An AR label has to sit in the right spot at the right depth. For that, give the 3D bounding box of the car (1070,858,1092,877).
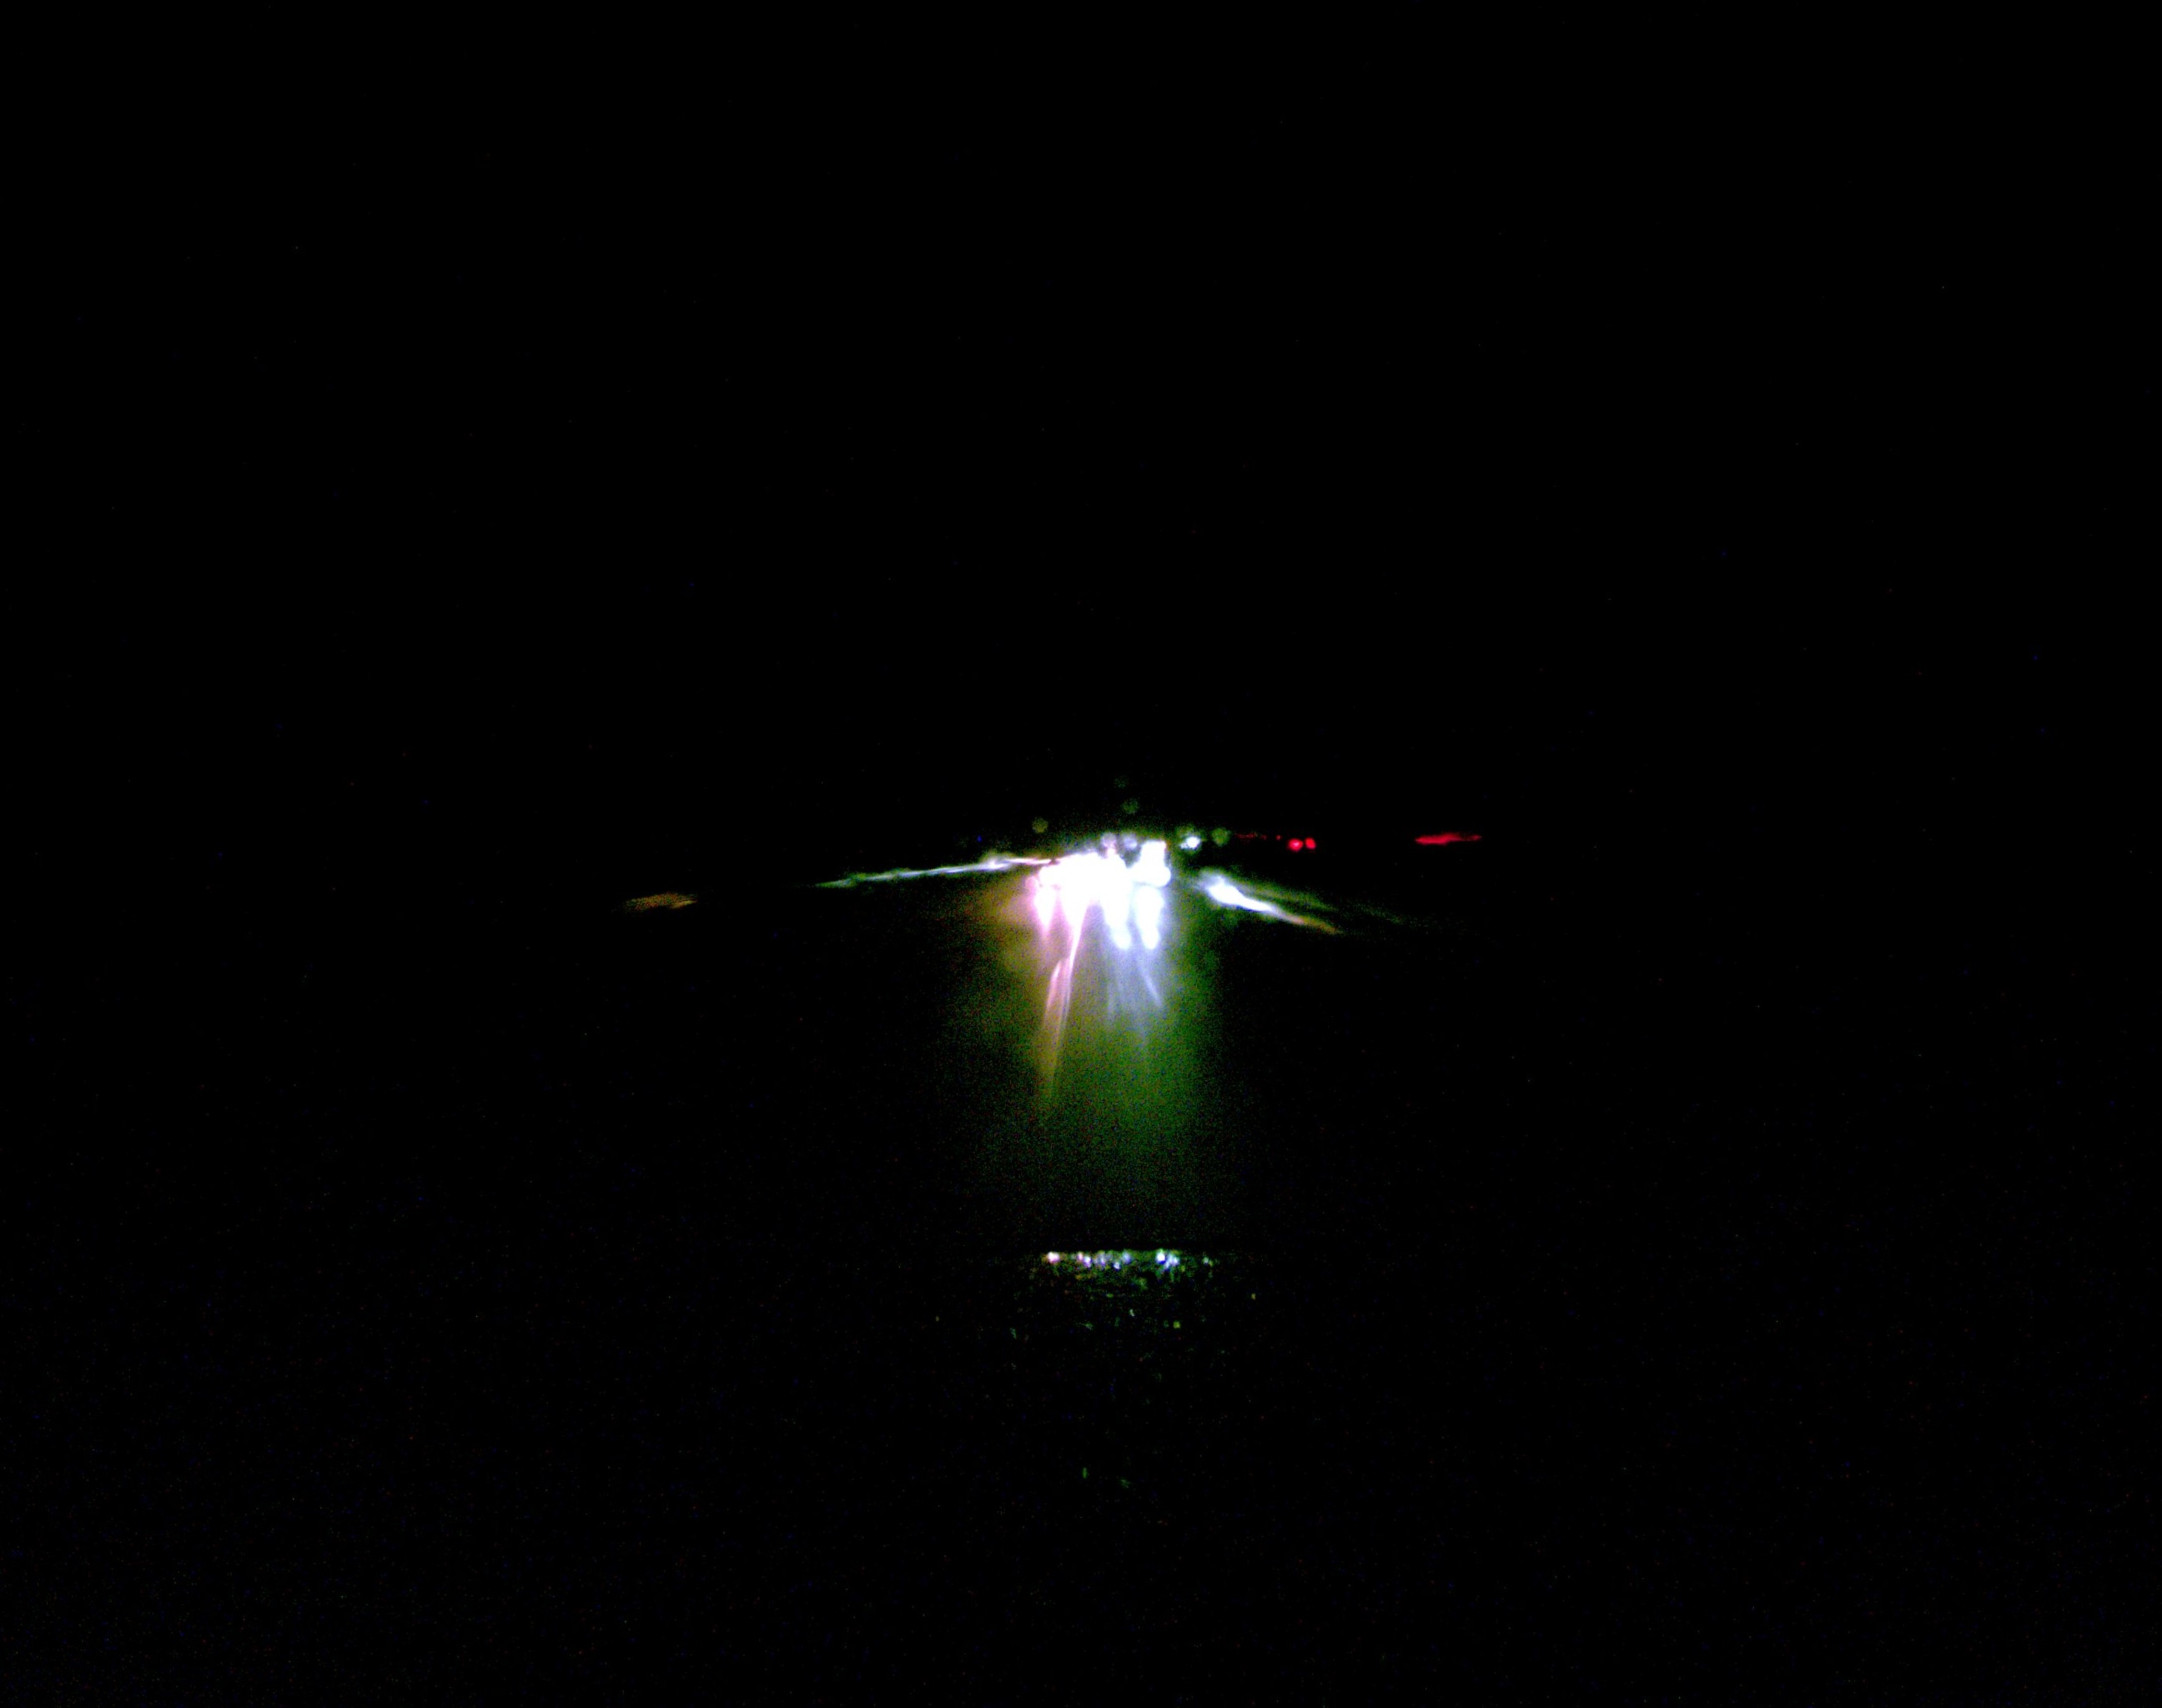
[{"bbox_3d":[0.013,1.277,72.791,1.848,1.614,3.679,-5,-1,1],"label":"car"}]

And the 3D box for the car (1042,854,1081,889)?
[{"bbox_3d":[-0.960,0.867,39.385,1.805,1.608,4.256,-2,1,1],"label":"car"}]

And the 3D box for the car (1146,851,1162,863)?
[{"bbox_3d":[12.140,0.522,126.077,1.997,1.802,4.004,-6,-1,14],"label":"car"}]

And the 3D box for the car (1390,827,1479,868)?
[{"bbox_3d":[15.260,-0.244,33.046,1.998,1.469,4.001,-6,-1,2],"label":"car"}]

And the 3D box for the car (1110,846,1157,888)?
[{"bbox_3d":[2.892,0.677,40.730,1.997,2.001,4.003,-5,-1,9],"label":"car"}]

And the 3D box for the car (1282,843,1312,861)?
[{"bbox_3d":[21.399,-0.160,75.462,1.998,1.595,4.002,-6,-1,5],"label":"car"}]
